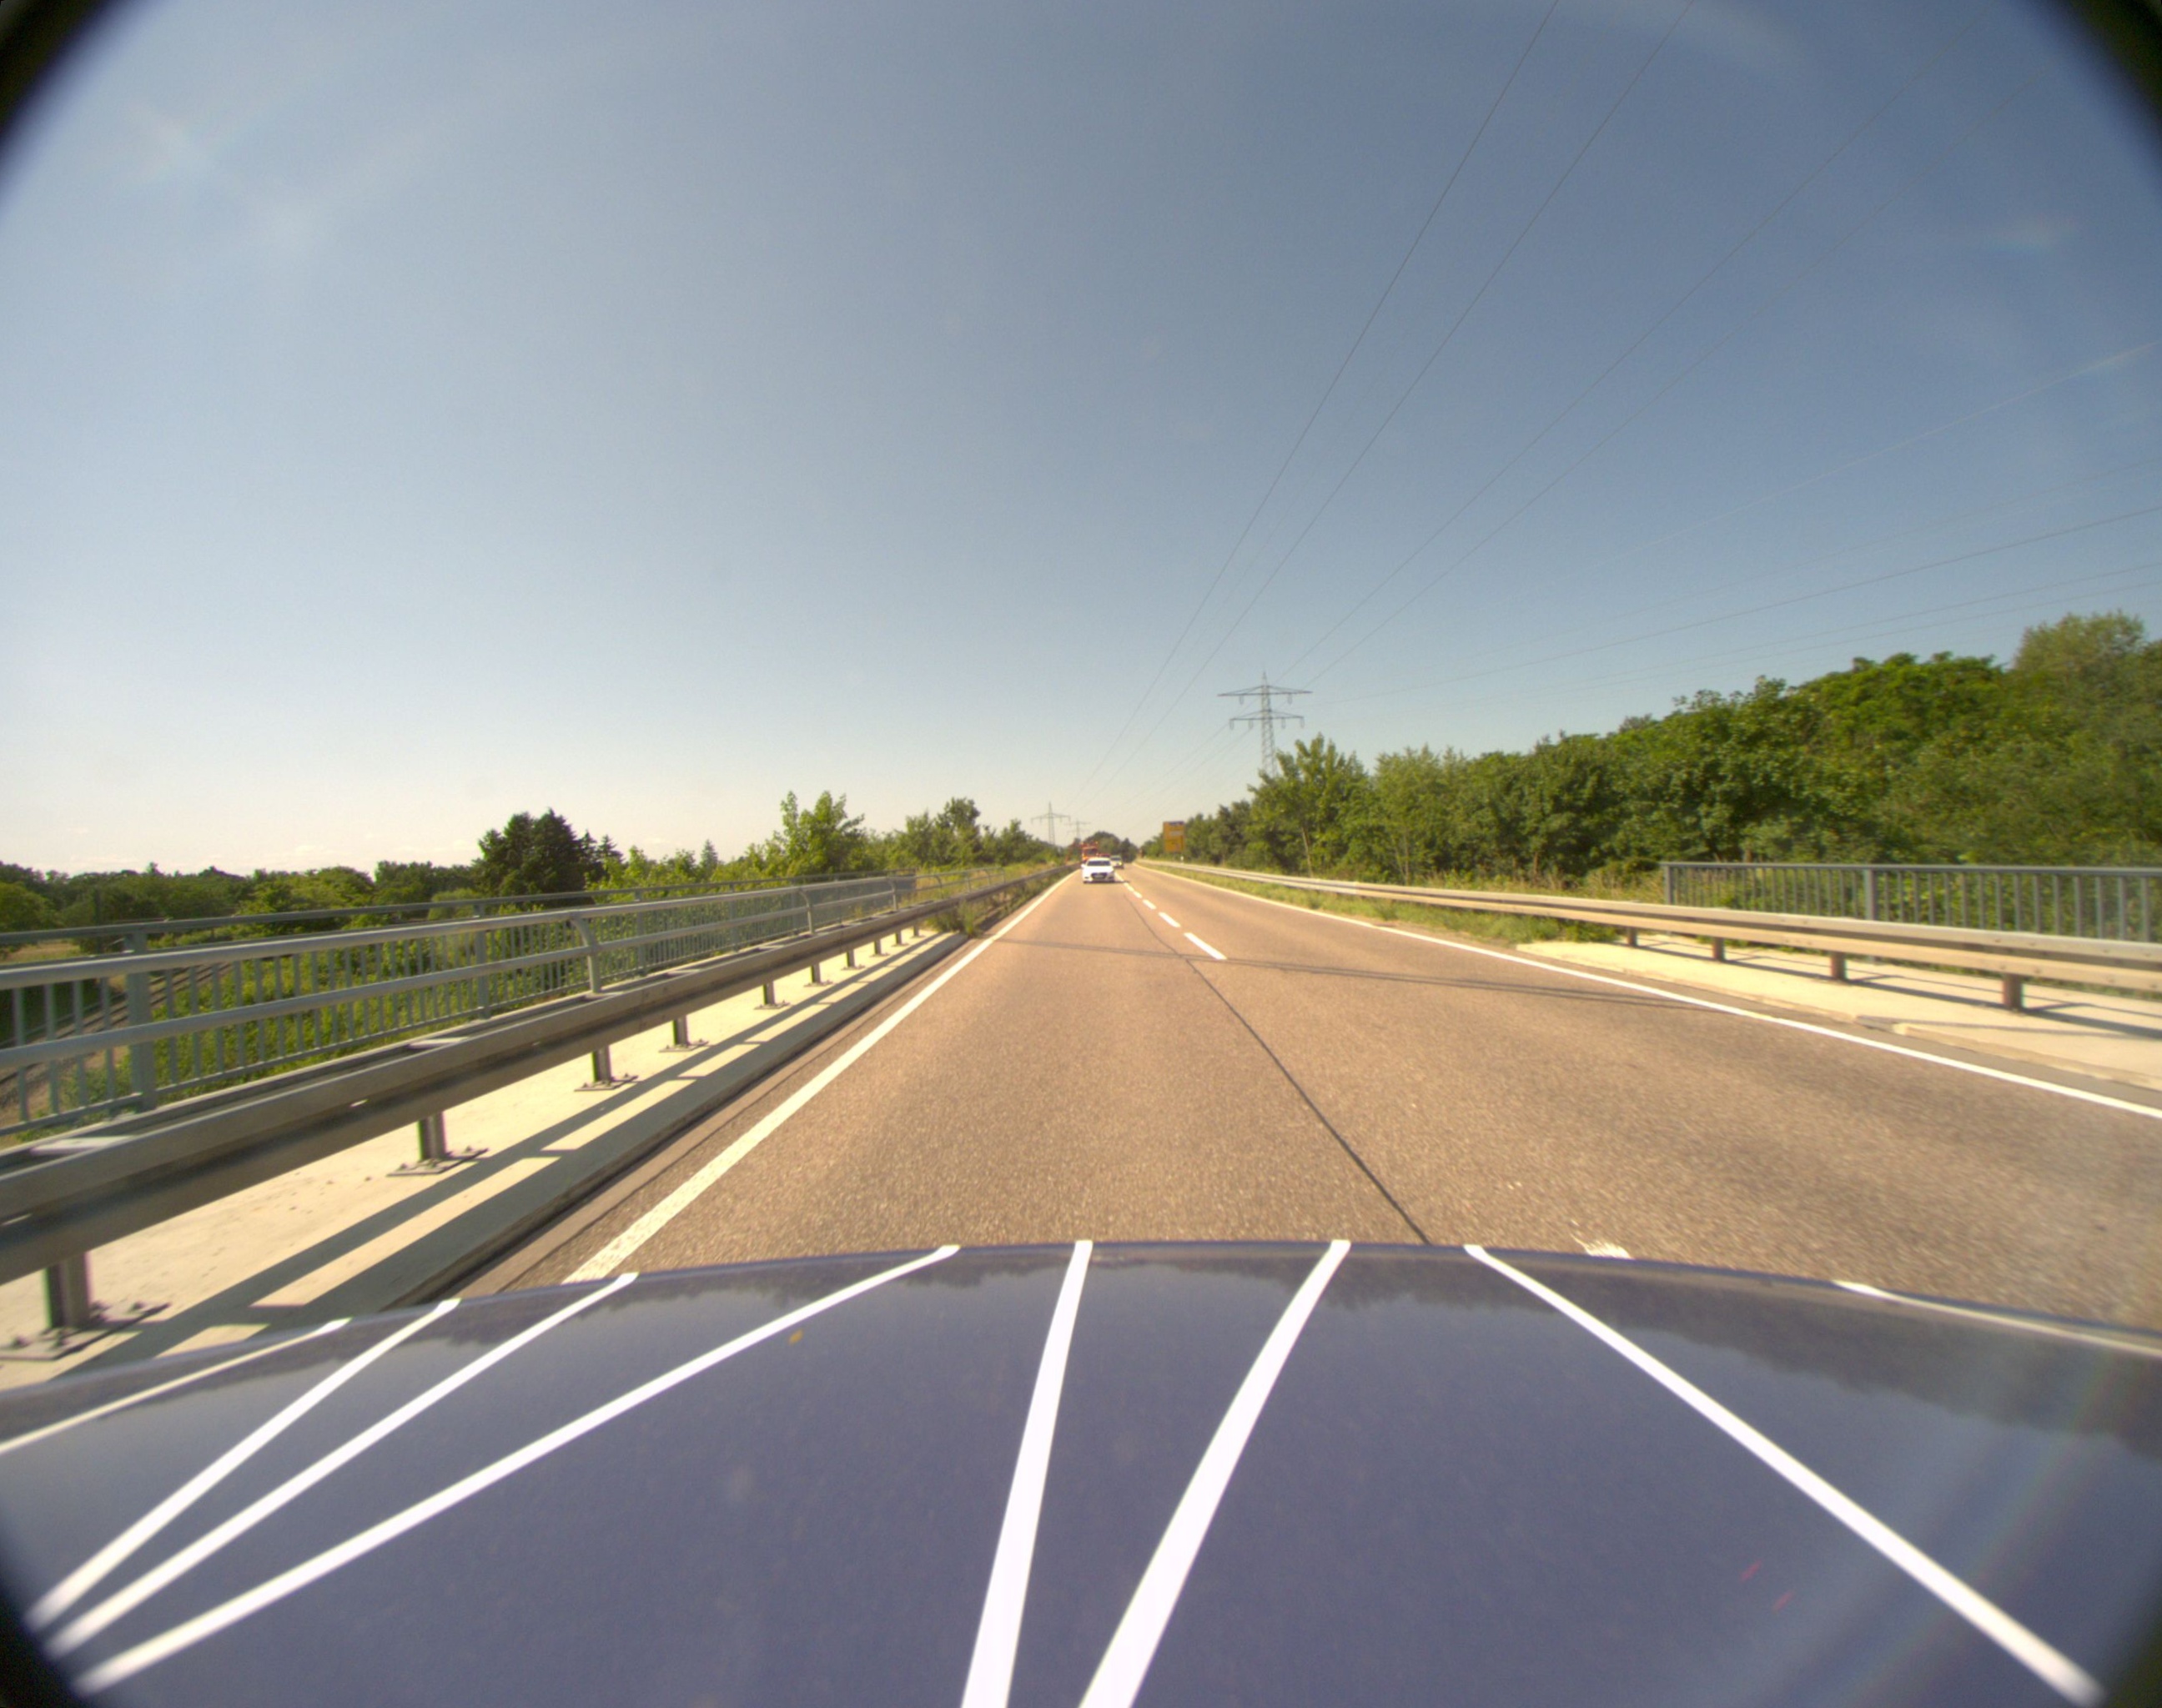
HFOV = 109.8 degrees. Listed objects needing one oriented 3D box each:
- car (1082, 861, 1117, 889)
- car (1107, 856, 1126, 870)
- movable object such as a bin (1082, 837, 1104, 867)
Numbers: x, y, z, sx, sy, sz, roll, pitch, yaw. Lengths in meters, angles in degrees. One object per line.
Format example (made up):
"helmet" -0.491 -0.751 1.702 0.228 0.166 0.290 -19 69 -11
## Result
"car" 1.081 1.205 45.253 1.922 1.496 4.794 -2 0 1
"car" 4.120 1.046 88.402 1.923 1.540 4.793 -2 0 1
"movable object such as a bin" 1.680 -0.293 103.408 2.760 3.817 9.446 -2 0 1
